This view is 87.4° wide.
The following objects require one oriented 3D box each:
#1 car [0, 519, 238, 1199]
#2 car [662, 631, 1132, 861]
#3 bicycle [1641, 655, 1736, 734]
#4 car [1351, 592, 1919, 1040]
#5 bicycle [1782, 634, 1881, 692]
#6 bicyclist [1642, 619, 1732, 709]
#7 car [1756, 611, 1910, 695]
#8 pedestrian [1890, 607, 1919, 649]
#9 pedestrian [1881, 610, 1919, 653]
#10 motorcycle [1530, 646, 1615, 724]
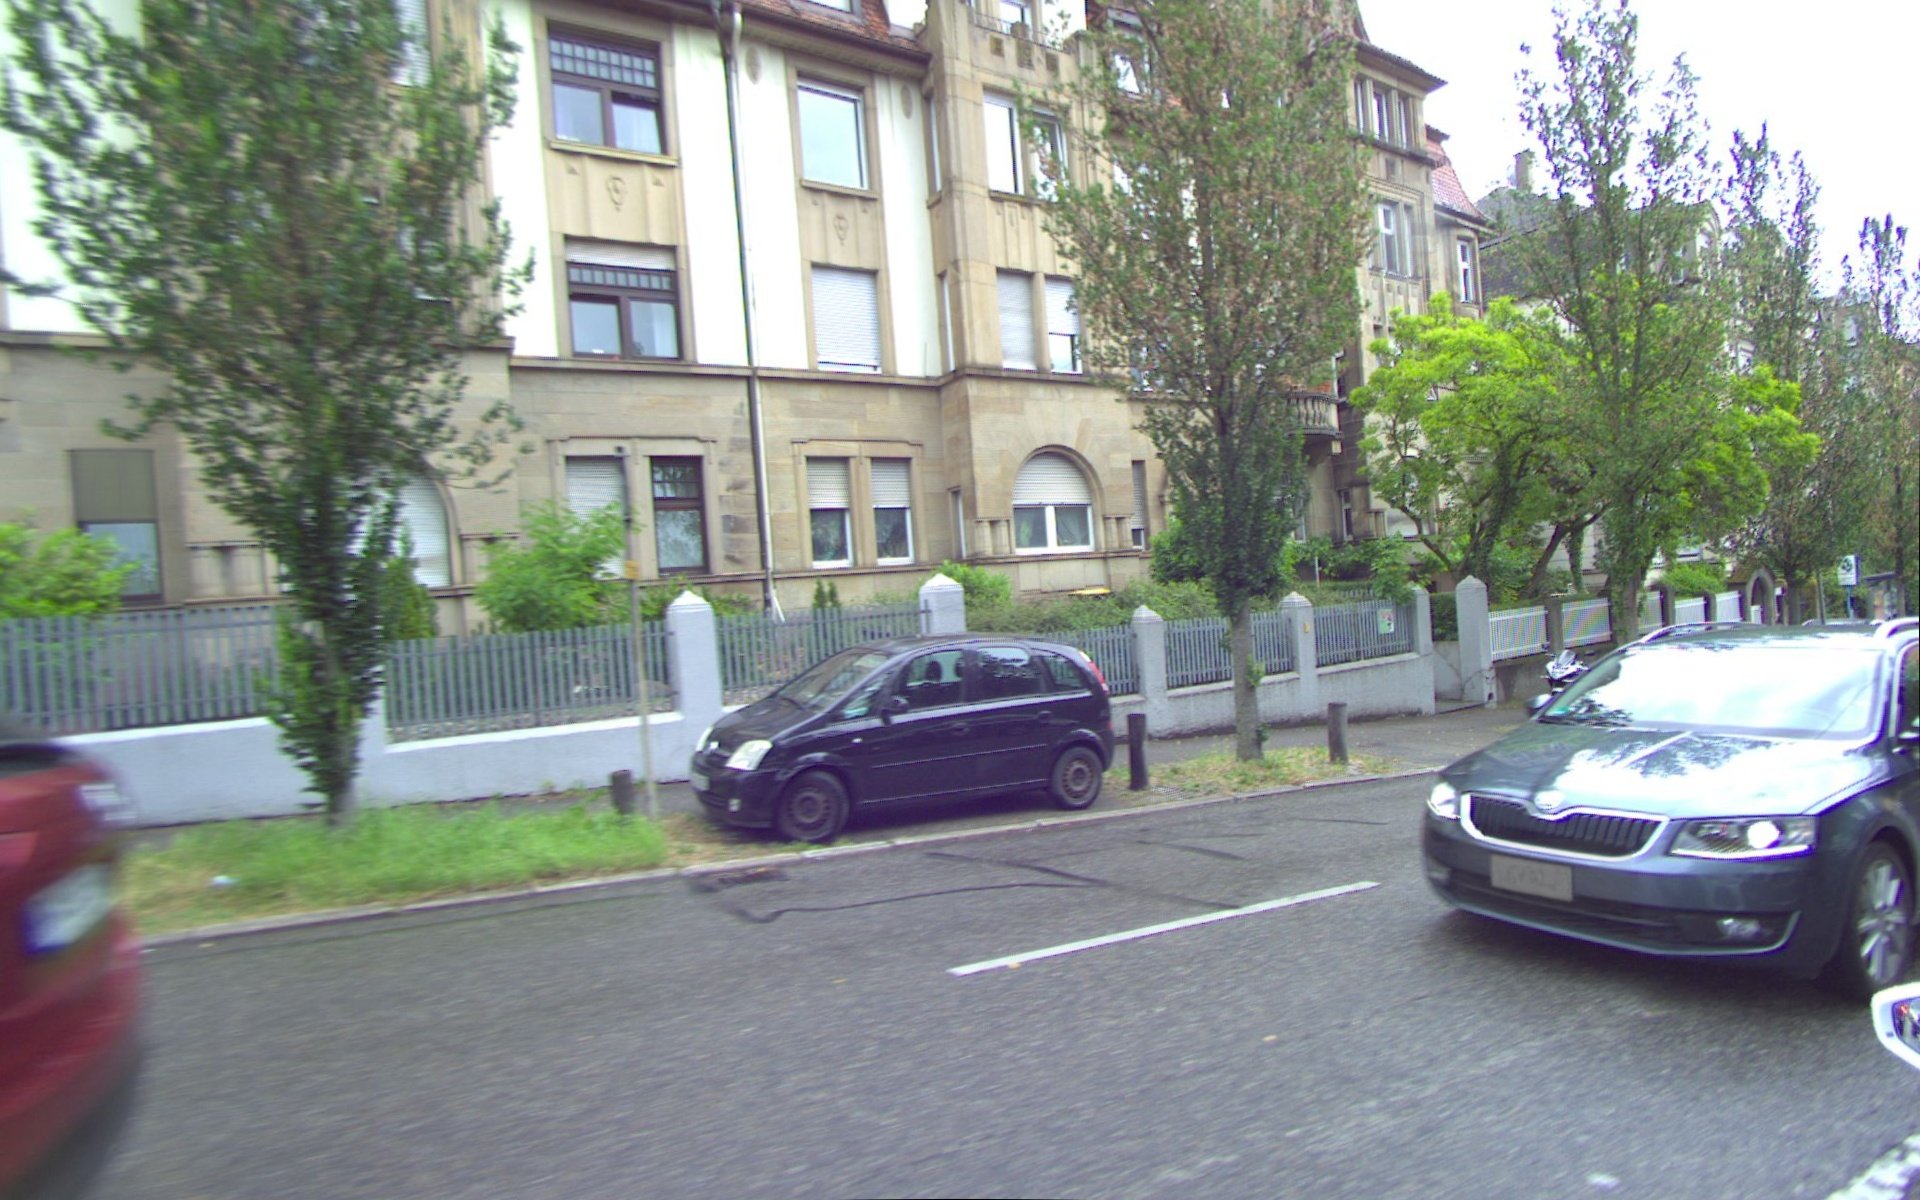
[{"bbox_3d":[-3.484,0.776,1.085,4.230,1.604,1.837,-1,-4,-32],"label":"car"},{"bbox_3d":[-0.525,1.138,9.244,3.954,1.634,1.806,0,-1,-31],"label":"car"},{"bbox_3d":[10.310,1.300,14.179,2.139,0.995,0.647,1,-5,-43],"label":"bicycle"},{"bbox_3d":[4.161,0.758,5.234,4.233,1.492,1.729,0,-3,-32],"label":"car"},{"bbox_3d":[18.526,1.352,21.379,0.377,1.135,1.452,-1,-5,-38],"label":"bicycle"},{"bbox_3d":[10.286,0.899,14.207,1.074,1.184,0.764,0,-4,-43],"label":"bicyclist"},{"bbox_3d":[20.333,1.201,23.361,4.157,1.672,1.776,0,-6,-37],"label":"car"},{"bbox_3d":[31.716,0.937,33.571,0.606,1.360,0.703,-1,-5,-33],"label":"pedestrian"},{"bbox_3d":[31.171,1.046,33.280,0.606,1.360,0.703,-1,-5,-33],"label":"pedestrian"},{"bbox_3d":[10.172,1.372,16.651,2.139,1.136,0.646,0,0,-43],"label":"motorcycle"}]
